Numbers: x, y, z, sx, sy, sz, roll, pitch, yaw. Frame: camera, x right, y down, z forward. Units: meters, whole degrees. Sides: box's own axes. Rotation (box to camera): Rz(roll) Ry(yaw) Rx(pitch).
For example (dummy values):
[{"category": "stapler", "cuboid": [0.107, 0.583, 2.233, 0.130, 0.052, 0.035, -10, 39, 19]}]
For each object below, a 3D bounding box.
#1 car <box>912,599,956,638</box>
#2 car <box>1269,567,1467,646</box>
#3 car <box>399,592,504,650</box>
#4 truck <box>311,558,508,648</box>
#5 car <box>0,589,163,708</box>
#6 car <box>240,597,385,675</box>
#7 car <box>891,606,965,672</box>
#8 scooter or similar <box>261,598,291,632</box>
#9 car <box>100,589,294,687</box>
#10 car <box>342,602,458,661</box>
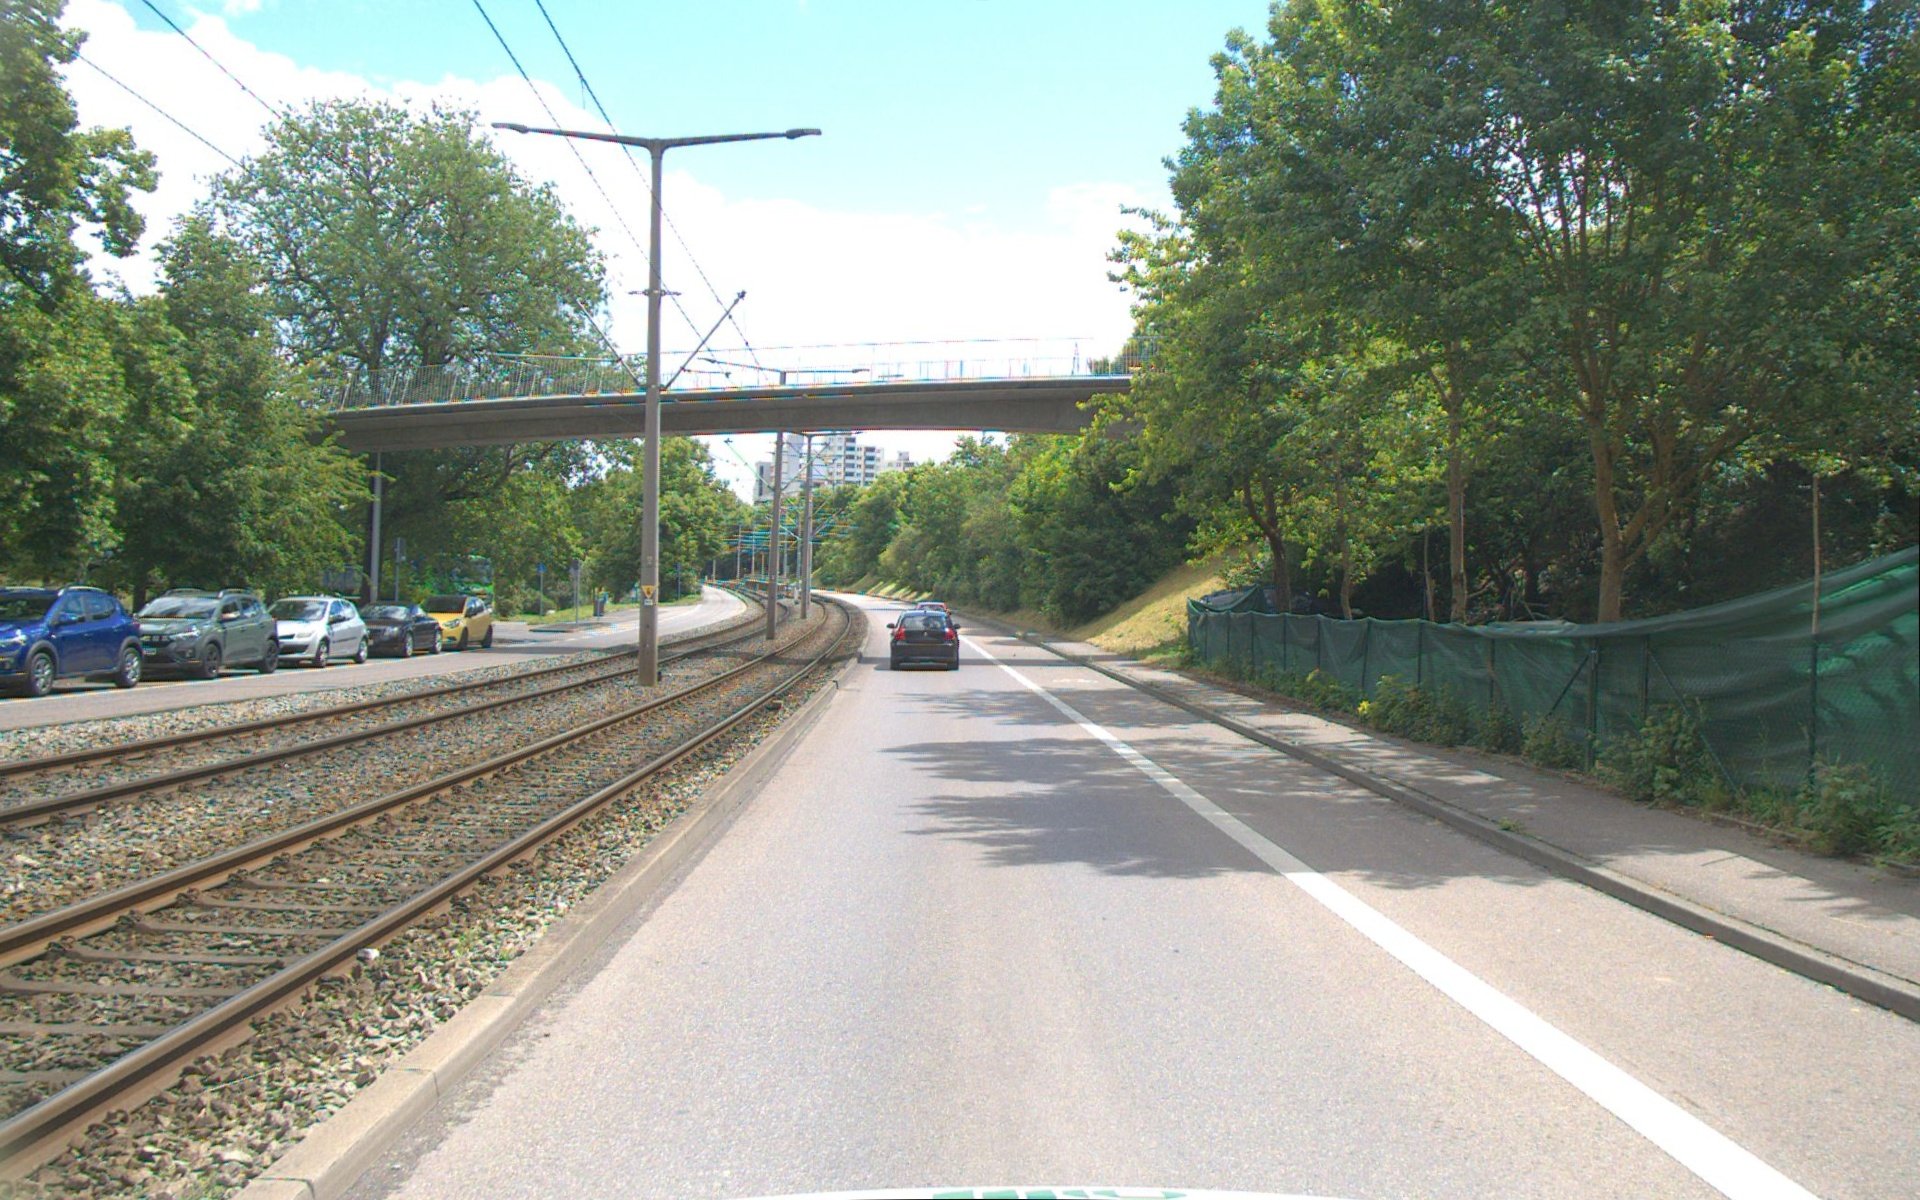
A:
[{"category": "car", "cuboid": [-1.051, 0.800, 68.511, 1.591, 1.469, 3.421, 3, -2, 1]}, {"category": "car", "cuboid": [10.194, 0.194, 41.552, 4.431, 1.701, 2.000, -3, -2, 1]}, {"category": "car", "cuboid": [-14.180, 0.617, 46.324, 1.654, 1.476, 3.897, 3, -2, 0]}, {"category": "truck", "cuboid": [-23.755, 0.102, 71.158, 8.838, 3.378, 2.873, 2, -1, 32]}, {"category": "car", "cuboid": [-13.828, 0.703, 24.934, 1.525, 1.624, 4.159, 3, -2, 0]}, {"category": "car", "cuboid": [-13.997, 0.754, 36.001, 1.561, 1.520, 4.190, 3, -1, -2]}, {"category": "car", "cuboid": [-0.811, 0.953, 41.433, 1.674, 1.485, 3.959, 3, 0, -1]}, {"category": "scooter or similar", "cuboid": [-24.846, 0.548, 60.070, 0.696, 1.167, 0.788, 3, -2, 1]}, {"category": "car", "cuboid": [-13.857, 0.667, 30.296, 1.609, 1.651, 4.125, 1, -1, 0]}, {"category": "car", "cuboid": [-13.934, 0.771, 41.395, 1.480, 1.384, 4.128, 1, -1, 0]}]
